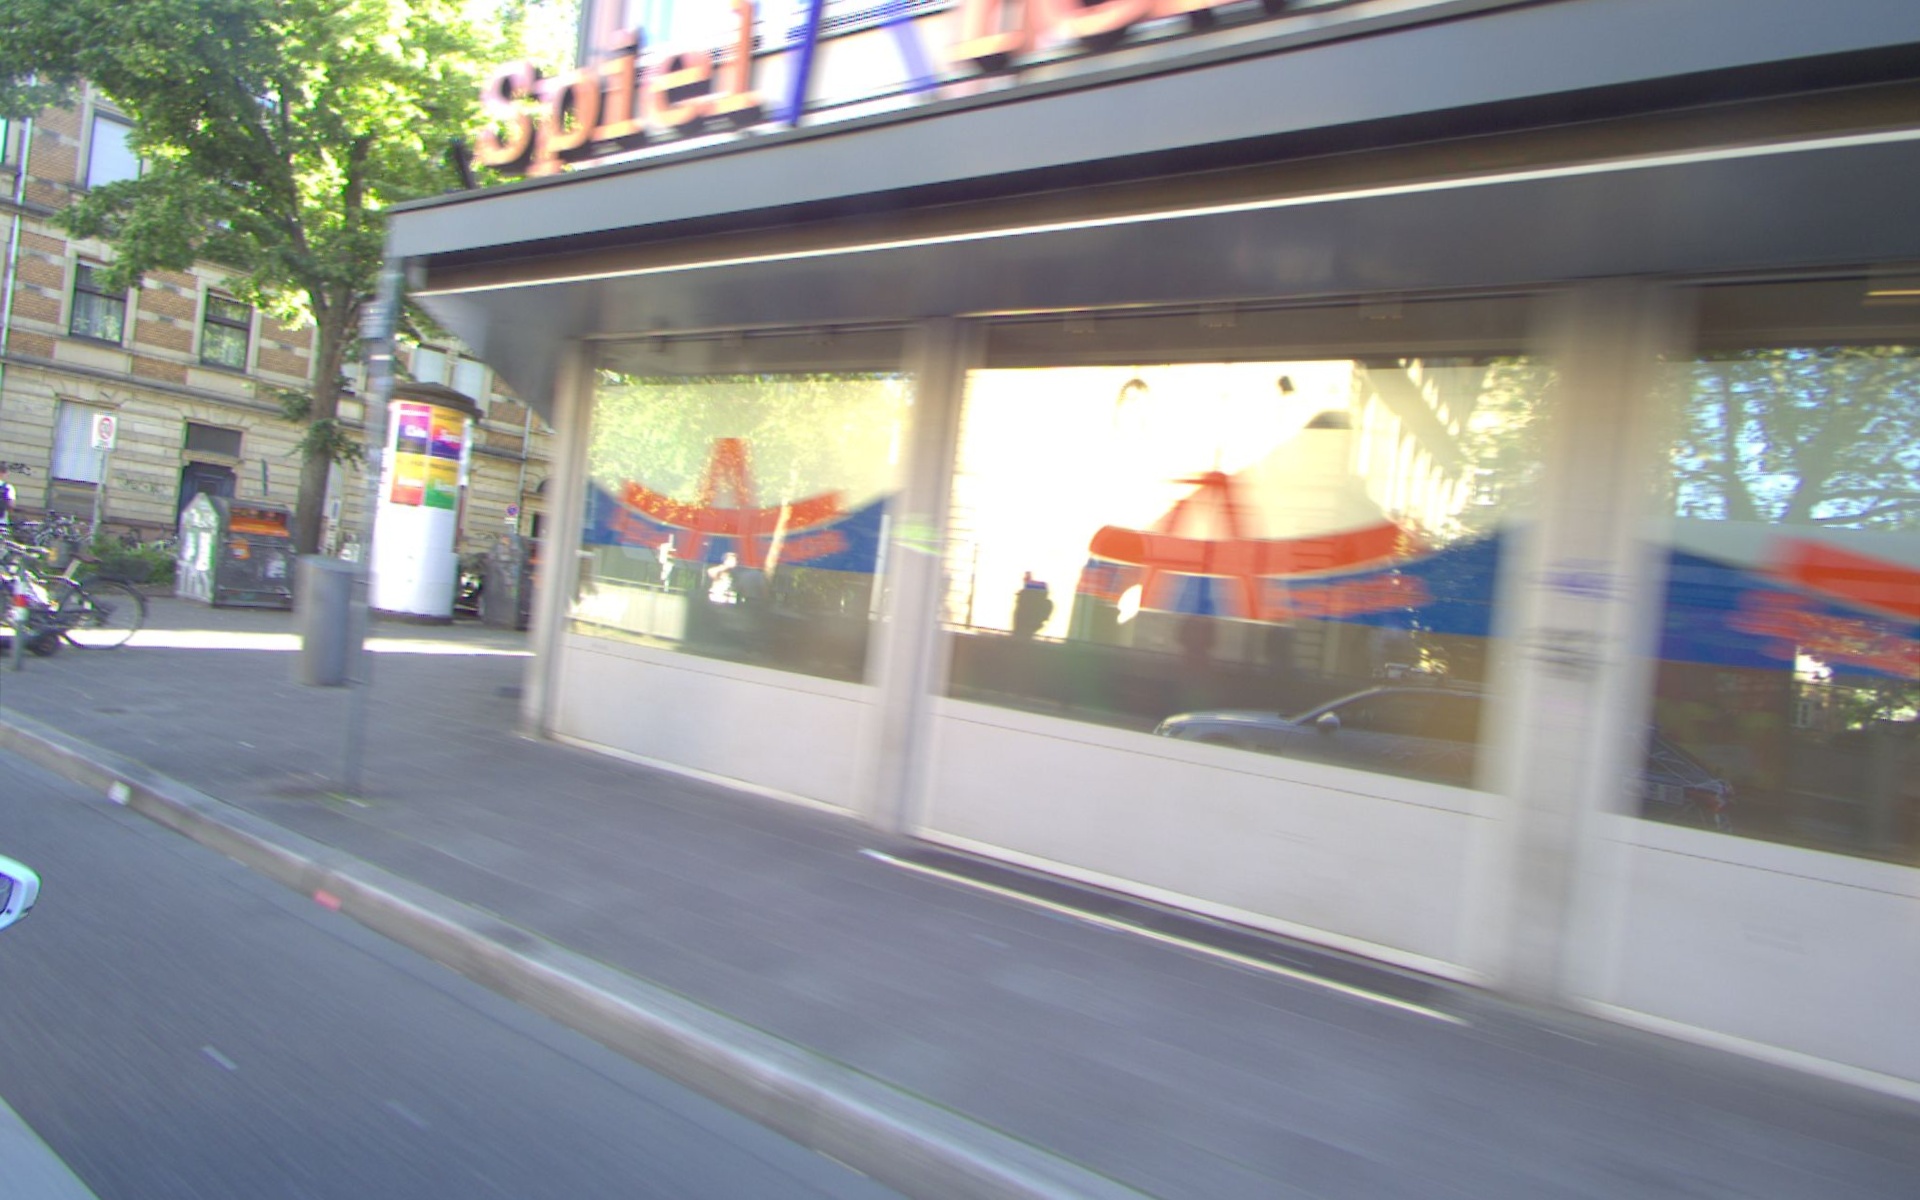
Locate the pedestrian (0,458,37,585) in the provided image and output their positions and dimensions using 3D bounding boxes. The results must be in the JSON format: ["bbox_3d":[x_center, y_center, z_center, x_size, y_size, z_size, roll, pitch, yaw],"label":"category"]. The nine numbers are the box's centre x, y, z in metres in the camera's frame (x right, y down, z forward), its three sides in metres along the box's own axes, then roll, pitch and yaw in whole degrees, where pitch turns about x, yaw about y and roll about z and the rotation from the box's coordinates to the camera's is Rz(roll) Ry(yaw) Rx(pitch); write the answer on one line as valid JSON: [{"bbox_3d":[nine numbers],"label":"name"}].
[{"bbox_3d":[-15.912,-1.321,16.478,0.936,2.008,0.710,8,-1,-40],"label":"pedestrian"}]

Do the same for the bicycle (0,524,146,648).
[{"bbox_3d":[-9.185,-0.157,9.691,0.554,1.120,1.949,7,0,29],"label":"bicycle"}]

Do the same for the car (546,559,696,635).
[{"bbox_3d":[-8.480,-0.095,25.003,1.987,1.413,3.952,7,-1,-43],"label":"car"}]

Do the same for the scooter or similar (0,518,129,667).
[{"bbox_3d":[-8.292,-0.077,8.758,0.582,1.245,1.479,7,2,31],"label":"scooter or similar"}]

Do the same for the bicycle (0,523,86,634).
[{"bbox_3d":[-10.394,-0.280,10.371,0.554,1.120,1.949,7,0,29],"label":"bicycle"}]

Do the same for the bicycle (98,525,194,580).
[{"bbox_3d":[-20.372,-1.171,25.195,1.784,1.128,0.443,7,0,-10],"label":"bicycle"}]

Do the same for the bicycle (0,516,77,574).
[{"bbox_3d":[-21.384,-1.277,22.969,1.784,1.128,0.443,7,0,-10],"label":"bicycle"}]

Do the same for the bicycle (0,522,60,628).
[{"bbox_3d":[-10.951,-0.338,10.674,0.554,1.120,1.949,7,0,29],"label":"bicycle"}]

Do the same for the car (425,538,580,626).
[{"bbox_3d":[-10.593,-0.441,23.140,1.987,1.622,3.952,7,-1,-43],"label":"car"}]

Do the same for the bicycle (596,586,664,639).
[{"bbox_3d":[-7.223,0.254,21.958,0.648,0.959,1.979,7,0,-40],"label":"bicycle"}]

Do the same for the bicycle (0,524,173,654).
[{"bbox_3d":[-8.665,-0.106,9.389,0.554,1.120,1.949,7,0,29],"label":"bicycle"}]

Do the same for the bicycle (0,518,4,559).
[{"bbox_3d":[-22.015,-1.359,21.858,1.784,1.128,0.443,7,0,-10],"label":"bicycle"}]

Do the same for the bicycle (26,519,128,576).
[{"bbox_3d":[-21.122,-1.242,24.080,1.784,1.128,0.443,7,0,-10],"label":"bicycle"}]

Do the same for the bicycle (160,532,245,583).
[{"bbox_3d":[-20.078,-1.119,26.671,1.781,1.129,0.444,7,0,-1],"label":"bicycle"}]

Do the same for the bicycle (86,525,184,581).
[{"bbox_3d":[-20.259,-1.140,24.735,1.784,1.128,0.443,7,0,-10],"label":"bicycle"}]

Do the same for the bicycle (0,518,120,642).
[{"bbox_3d":[-9.739,-0.241,10.008,0.617,1.180,1.949,7,0,29],"label":"bicycle"}]

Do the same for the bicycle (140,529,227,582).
[{"bbox_3d":[-20.181,-1.153,26.148,1.781,1.129,0.444,7,0,-1],"label":"bicycle"}]

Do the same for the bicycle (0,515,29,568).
[{"bbox_3d":[-21.937,-1.388,22.363,1.784,1.128,0.443,7,0,-10],"label":"bicycle"}]

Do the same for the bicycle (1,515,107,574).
[{"bbox_3d":[-21.183,-1.281,23.537,1.784,1.128,0.443,7,0,-10],"label":"bicycle"}]
